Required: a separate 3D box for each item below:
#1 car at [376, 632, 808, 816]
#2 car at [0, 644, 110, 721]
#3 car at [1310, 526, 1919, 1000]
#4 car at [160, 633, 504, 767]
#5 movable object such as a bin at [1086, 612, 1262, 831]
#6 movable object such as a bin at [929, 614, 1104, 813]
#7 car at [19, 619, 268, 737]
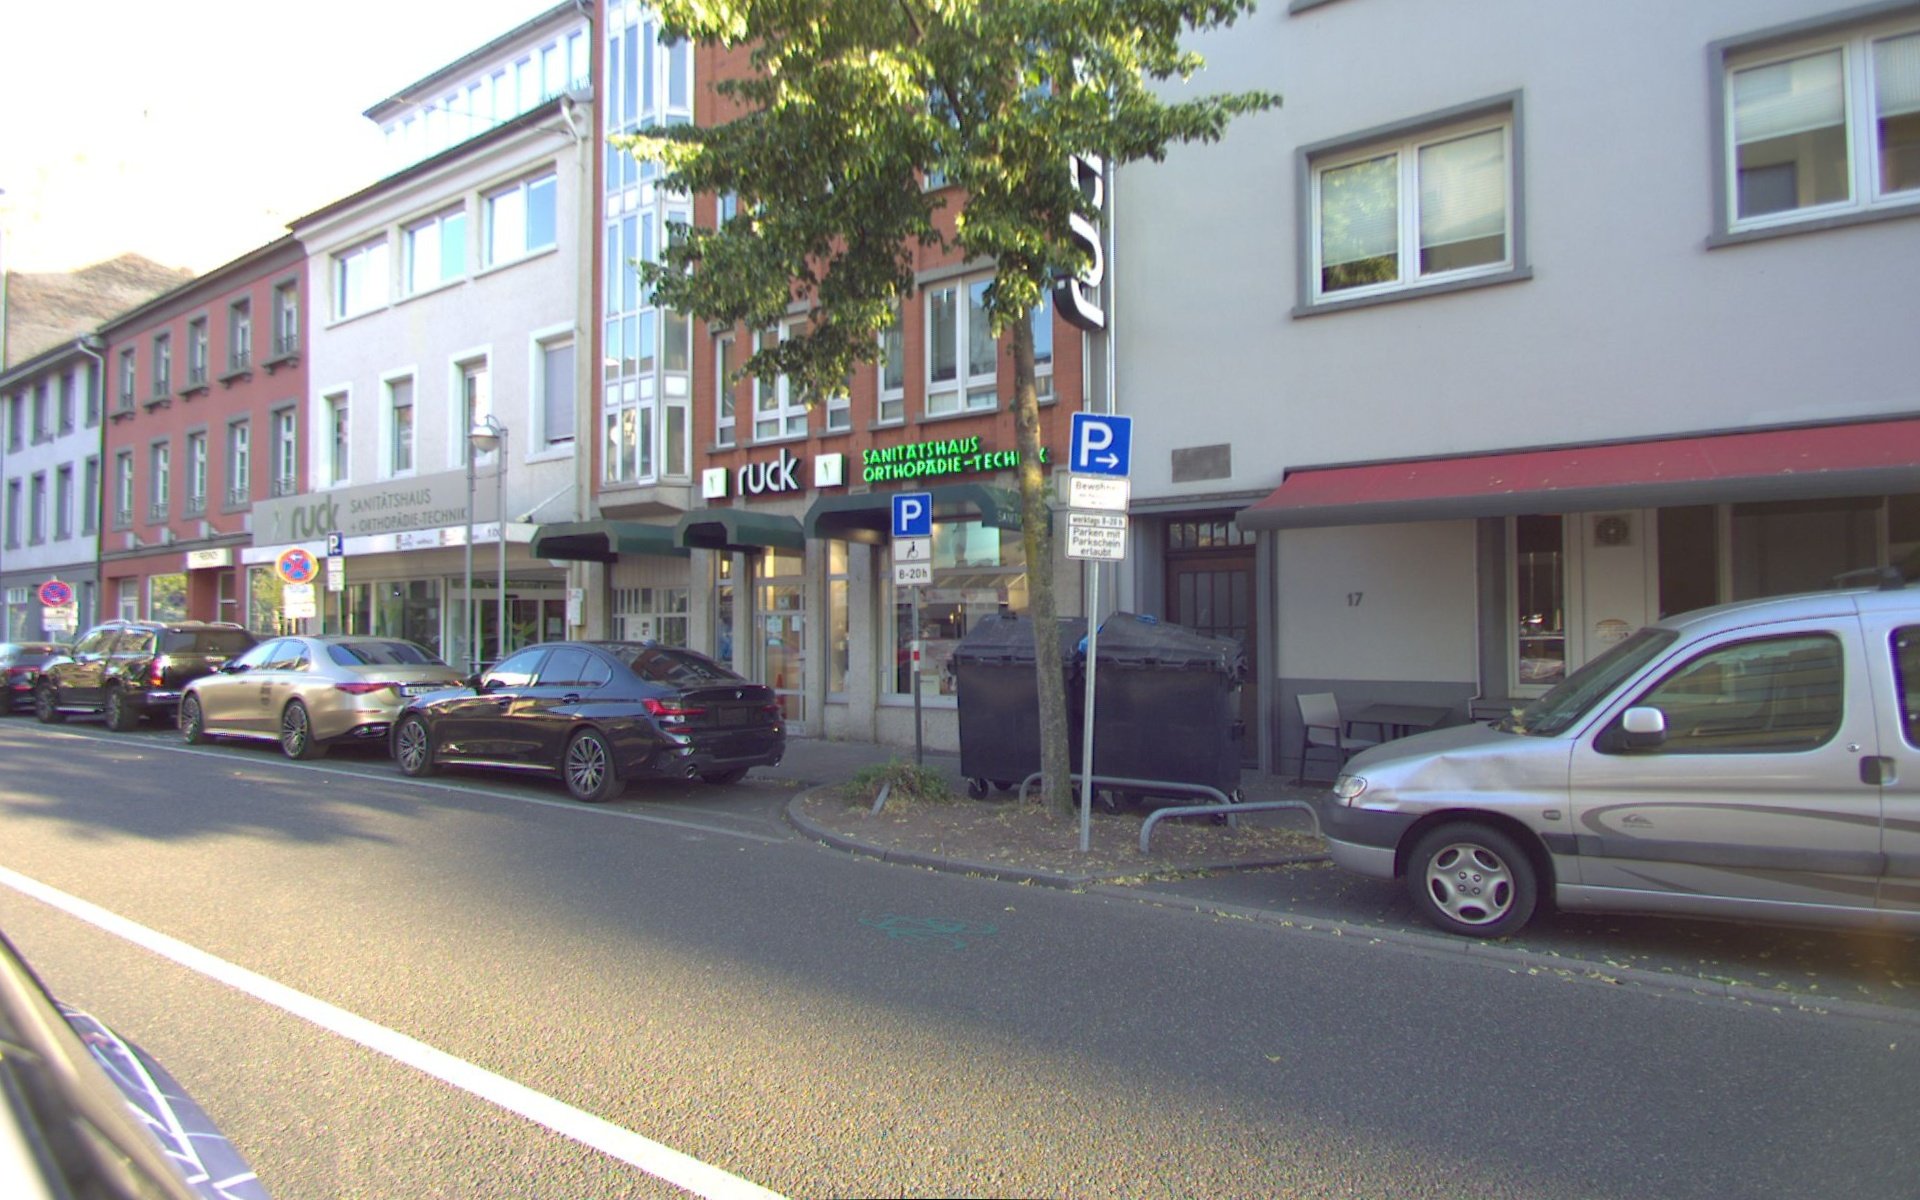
[{"bbox_3d":[-3.812,1.113,10.195,4.528,1.484,1.706,-2,-5,33],"label":"car"},{"bbox_3d":[-19.264,1.650,20.696,4.001,1.448,1.688,-2,-5,32],"label":"car"},{"bbox_3d":[3.982,0.704,4.990,4.038,1.902,1.657,-1,-4,31],"label":"car"},{"bbox_3d":[-8.456,1.229,13.458,5.094,1.484,1.977,-2,-4,34],"label":"car"},{"bbox_3d":[1.752,0.931,8.257,1.203,1.632,0.775,-1,0,29],"label":"movable object such as a bin"},{"bbox_3d":[0.505,0.954,9.016,1.331,1.632,0.775,-1,-1,30],"label":"movable object such as a bin"},{"bbox_3d":[-14.048,1.286,17.336,4.921,1.793,1.708,-2,-4,31],"label":"car"}]
